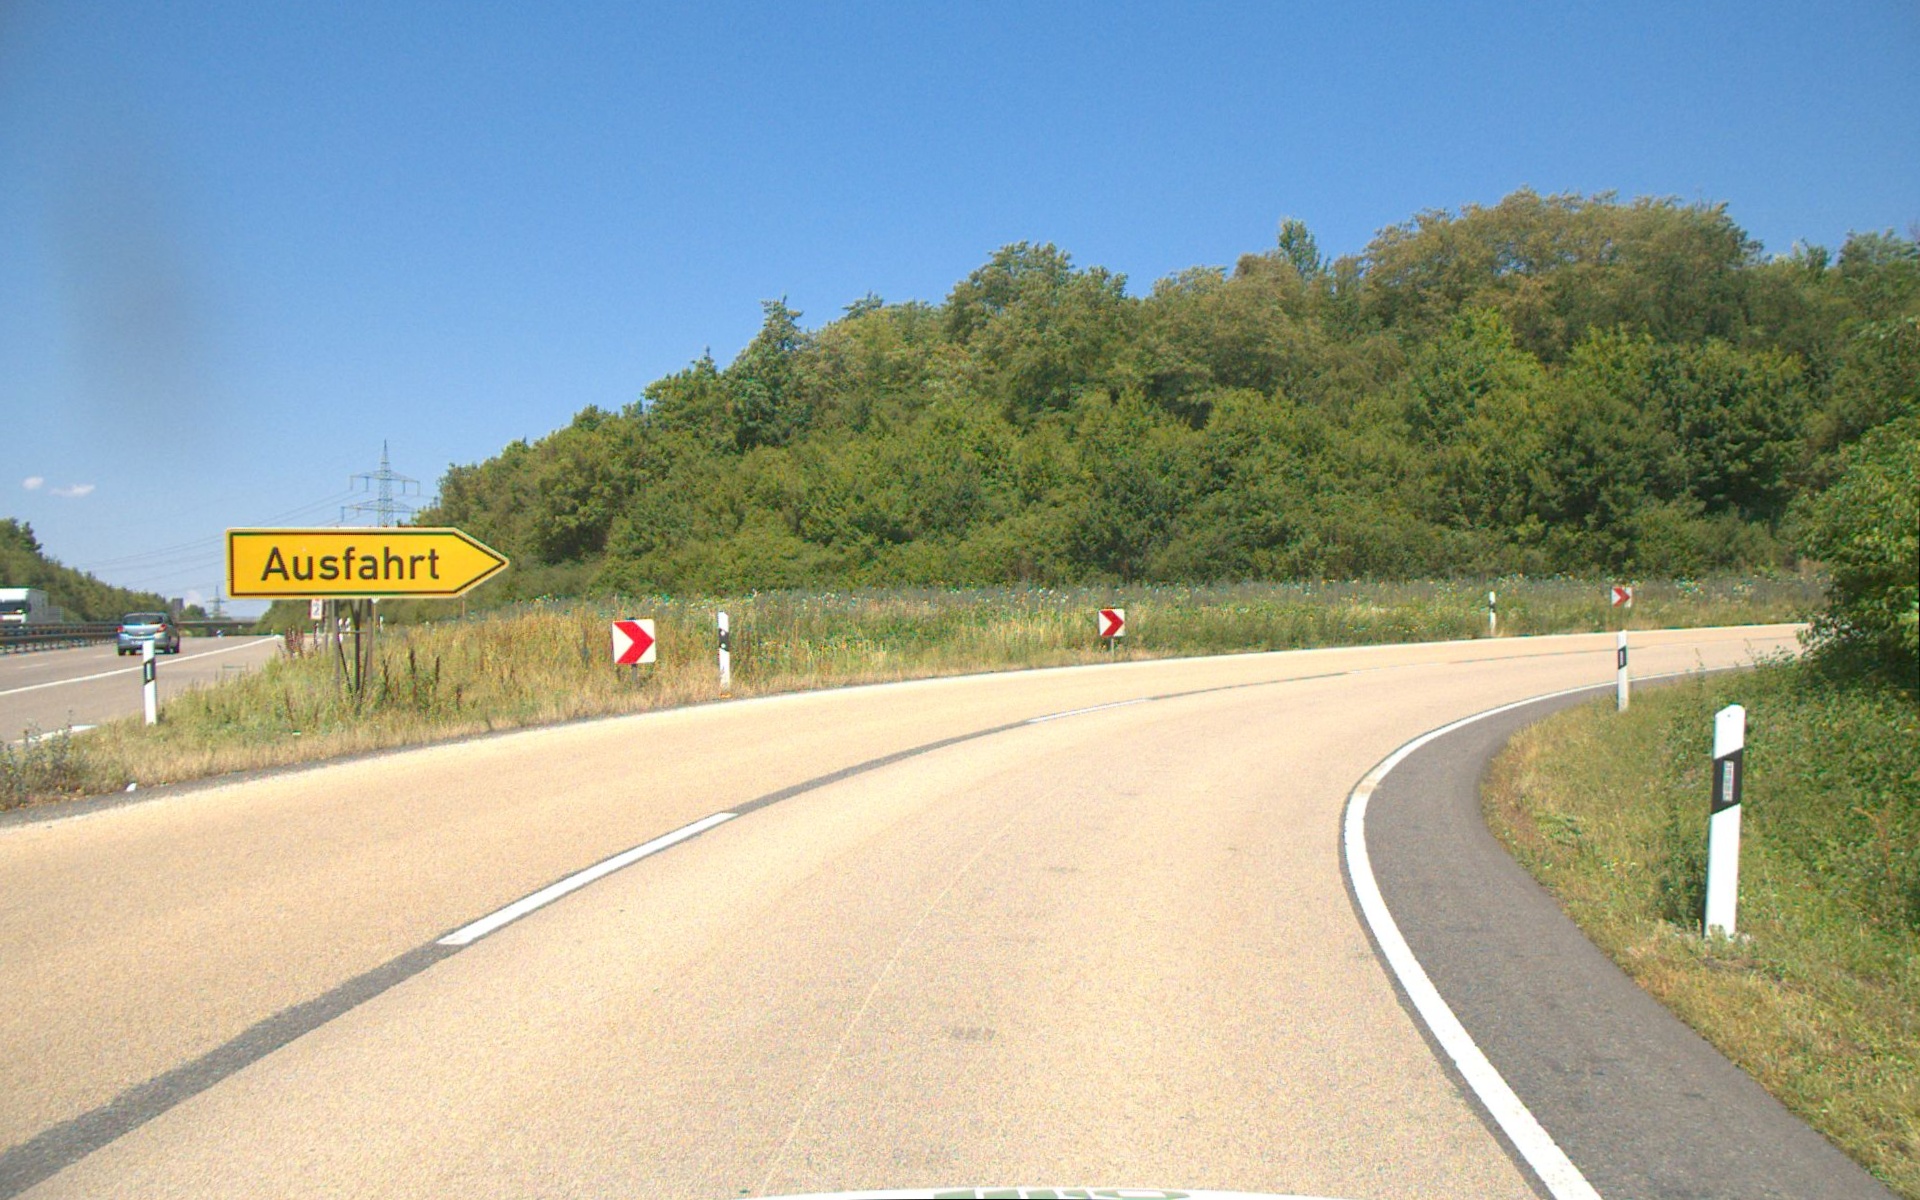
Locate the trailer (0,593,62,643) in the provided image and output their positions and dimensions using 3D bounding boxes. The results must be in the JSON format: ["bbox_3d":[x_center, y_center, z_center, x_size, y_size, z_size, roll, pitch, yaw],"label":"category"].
[{"bbox_3d":[-79.446,1.539,141.347,2.870,4.008,13.191,-2,0,-21],"label":"trailer"}]

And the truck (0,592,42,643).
[{"bbox_3d":[-76.876,1.457,134.626,2.870,4.008,5.383,-2,0,-21],"label":"truck"}]

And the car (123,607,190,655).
[{"bbox_3d":[-28.748,1.086,59.264,1.718,1.604,3.361,-2,1,-19],"label":"car"}]
